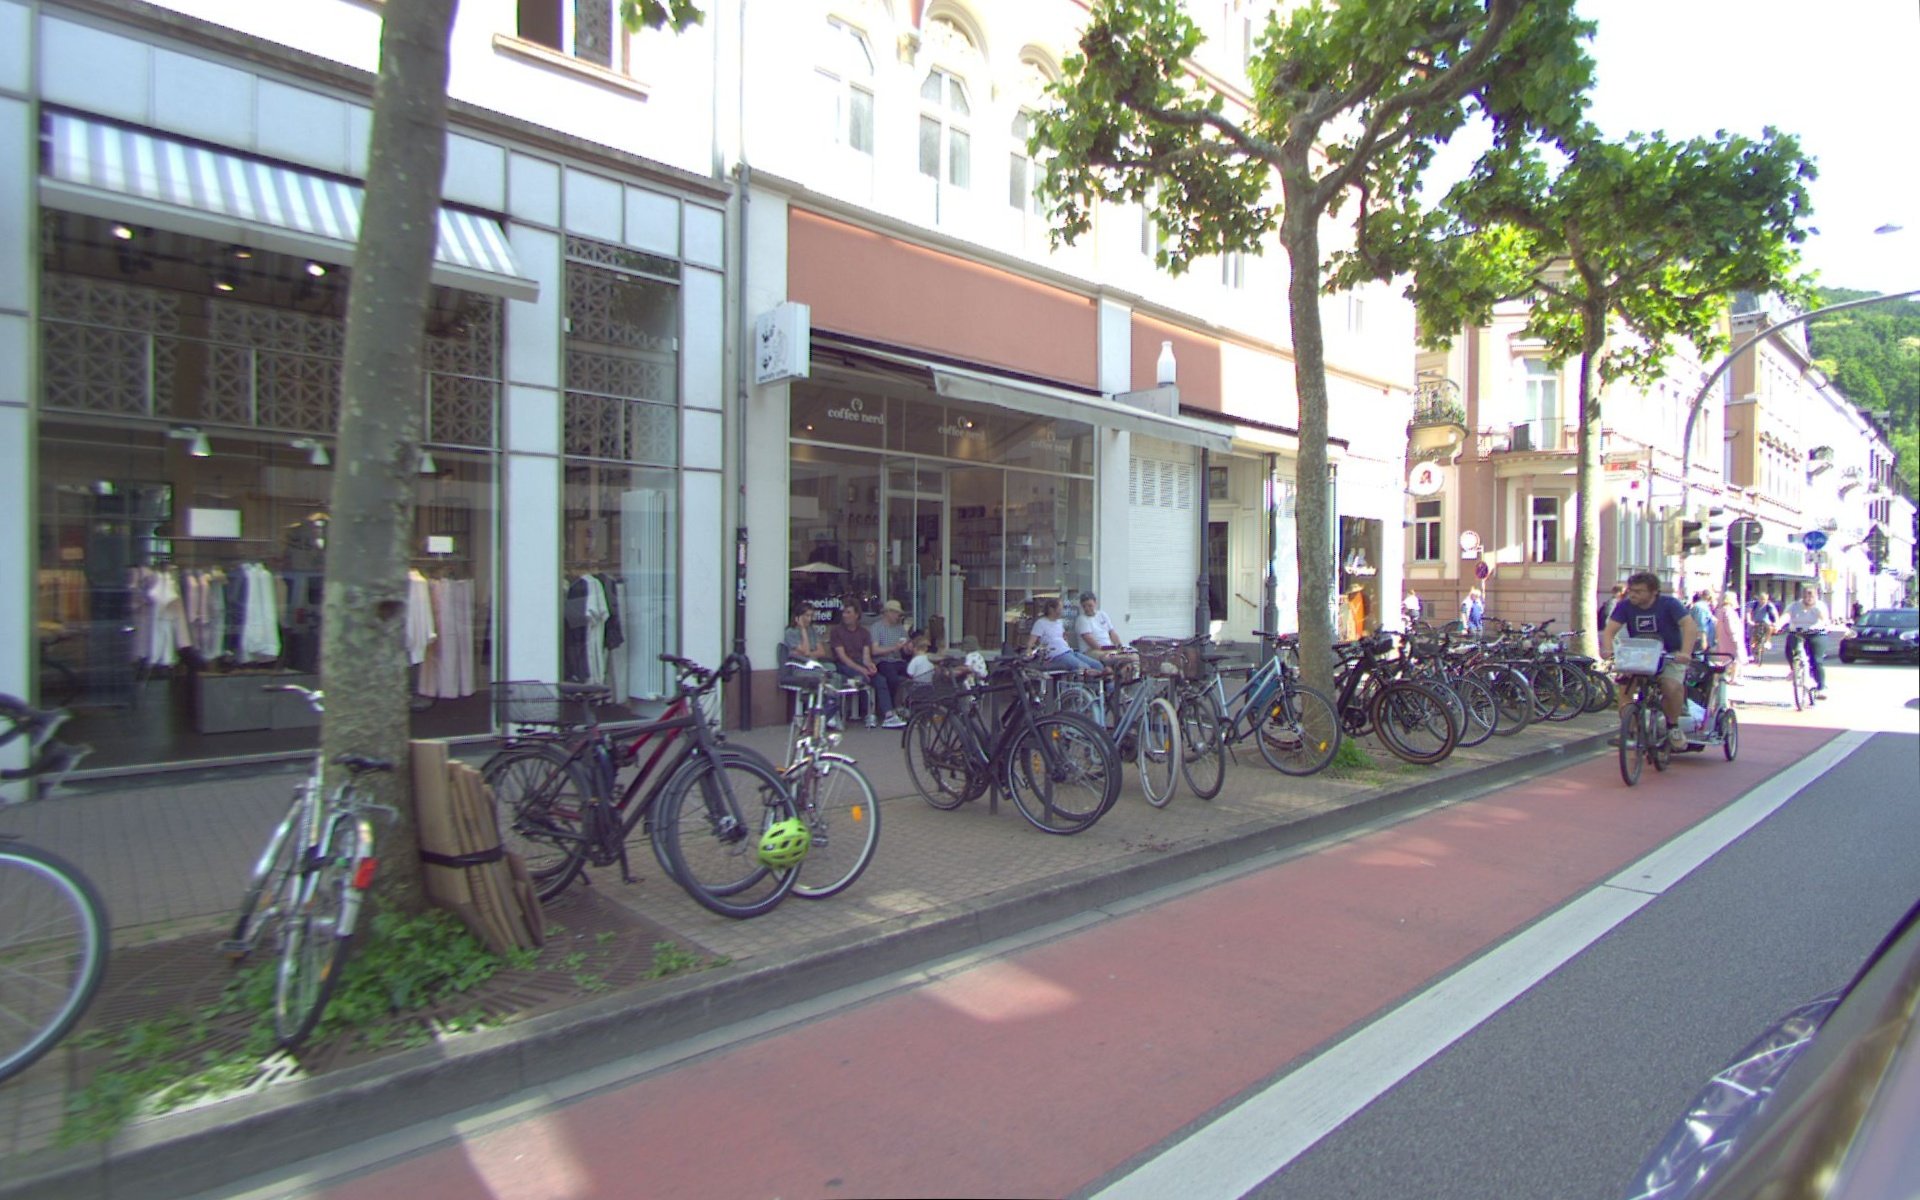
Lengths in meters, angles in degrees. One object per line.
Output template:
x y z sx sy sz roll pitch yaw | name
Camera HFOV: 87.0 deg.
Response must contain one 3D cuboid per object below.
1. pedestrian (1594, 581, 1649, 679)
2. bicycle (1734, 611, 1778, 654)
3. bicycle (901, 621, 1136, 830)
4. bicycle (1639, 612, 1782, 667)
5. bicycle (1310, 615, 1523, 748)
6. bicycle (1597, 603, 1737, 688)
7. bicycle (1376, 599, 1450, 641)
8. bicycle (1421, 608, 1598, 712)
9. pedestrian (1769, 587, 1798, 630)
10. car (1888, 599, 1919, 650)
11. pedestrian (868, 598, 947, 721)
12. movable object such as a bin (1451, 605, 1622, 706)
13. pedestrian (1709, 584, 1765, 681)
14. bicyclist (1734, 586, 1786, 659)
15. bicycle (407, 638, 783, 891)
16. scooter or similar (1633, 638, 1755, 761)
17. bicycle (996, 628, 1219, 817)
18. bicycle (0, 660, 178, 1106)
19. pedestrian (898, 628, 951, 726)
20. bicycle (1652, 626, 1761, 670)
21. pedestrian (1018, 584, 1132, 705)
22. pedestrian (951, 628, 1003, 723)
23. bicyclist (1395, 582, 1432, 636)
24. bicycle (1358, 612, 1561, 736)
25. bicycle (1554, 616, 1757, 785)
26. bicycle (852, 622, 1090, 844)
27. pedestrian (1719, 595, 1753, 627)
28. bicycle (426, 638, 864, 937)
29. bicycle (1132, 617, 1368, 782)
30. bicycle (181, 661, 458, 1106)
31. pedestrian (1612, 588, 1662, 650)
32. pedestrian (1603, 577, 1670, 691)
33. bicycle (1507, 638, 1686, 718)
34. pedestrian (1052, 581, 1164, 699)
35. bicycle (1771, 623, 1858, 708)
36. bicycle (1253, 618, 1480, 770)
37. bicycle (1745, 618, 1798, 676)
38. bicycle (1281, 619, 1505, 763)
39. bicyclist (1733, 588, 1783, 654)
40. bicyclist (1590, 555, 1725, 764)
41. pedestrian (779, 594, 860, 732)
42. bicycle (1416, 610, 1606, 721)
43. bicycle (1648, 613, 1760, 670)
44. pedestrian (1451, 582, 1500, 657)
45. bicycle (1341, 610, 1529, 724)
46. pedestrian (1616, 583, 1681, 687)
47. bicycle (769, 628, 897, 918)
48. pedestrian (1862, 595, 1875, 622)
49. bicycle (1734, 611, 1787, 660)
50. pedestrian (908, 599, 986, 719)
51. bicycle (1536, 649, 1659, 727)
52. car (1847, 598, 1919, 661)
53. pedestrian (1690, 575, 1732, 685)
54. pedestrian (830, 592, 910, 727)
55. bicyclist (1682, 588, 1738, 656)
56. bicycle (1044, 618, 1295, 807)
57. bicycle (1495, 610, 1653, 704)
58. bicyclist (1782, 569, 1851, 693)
12.855 0.568 19.663 0.602 1.866 0.641 0 -1 -30 | pedestrian
21.879 0.874 27.795 0.746 1.132 1.887 -1 0 45 | bicycle
0.325 0.748 6.731 0.440 1.141 1.844 -1 1 -39 | bicycle
17.091 0.882 23.109 2.566 1.141 0.618 1 -2 45 | bicycle
4.493 0.749 10.086 0.655 1.141 1.844 -1 1 -40 | bicycle
10.650 0.691 15.341 0.702 1.204 1.857 1 -3 -4 | bicycle
13.810 0.616 30.786 3.183 1.141 0.749 3 0 -41 | bicycle
6.793 0.698 12.603 0.654 1.141 1.846 -1 1 -34 | bicycle
35.804 0.354 43.991 0.754 1.813 0.840 0 1 -42 | pedestrian
28.991 0.673 29.927 4.804 1.443 1.953 0 -1 -44 | car
-0.576 0.624 11.059 0.523 1.269 0.682 1 1 -44 | pedestrian
7.412 0.689 13.112 0.639 1.204 1.859 0 -1 -26 | movable object such as a bin
14.338 0.591 18.680 0.777 1.731 0.639 -2 -1 -45 | pedestrian
19.639 0.523 24.846 0.830 1.738 0.840 0 1 -42 | bicyclist
-1.841 0.783 5.121 1.817 1.141 0.447 0 1 12 | bicycle
7.145 0.927 9.838 0.783 1.074 1.107 -2 -1 45 | scooter or similar
0.971 0.783 7.187 0.519 1.141 1.847 -1 -1 -29 | bicycle
-3.286 0.792 3.221 1.834 1.141 0.756 -2 0 36 | bicycle
-0.367 0.790 10.540 0.429 0.980 0.341 0 0 -40 | pedestrian
16.069 1.015 21.826 0.492 0.855 1.824 0 0 -41 | bicycle
1.456 0.526 12.884 0.777 1.440 1.234 -1 2 -44 | pedestrian
0.183 0.802 10.906 0.429 0.980 0.365 0 0 -40 | pedestrian
13.770 0.257 30.718 0.830 1.593 0.747 0 1 -42 | bicyclist
5.266 0.732 10.766 0.632 1.141 1.844 -1 1 -39 | bicycle
6.018 0.791 8.705 2.239 1.285 0.734 1 -2 -36 | bicycle
0.004 0.751 6.412 0.440 1.141 1.844 -1 1 -39 | bicycle
33.247 0.460 43.344 0.614 1.332 1.030 0 1 -43 | pedestrian
-1.386 0.766 4.523 1.818 1.141 0.592 0 1 13 | bicycle
2.357 0.753 8.436 0.667 1.141 1.844 -1 2 -40 | bicycle
-2.353 0.816 3.605 0.555 1.107 1.842 0 -1 -41 | bicycle
19.021 0.523 28.454 0.891 1.631 0.971 1 4 20 | pedestrian
11.208 0.549 16.760 0.630 1.818 0.788 1 -2 -44 | pedestrian
8.556 1.076 13.655 1.854 0.395 1.018 -12 27 52 | bicycle
1.977 0.498 13.575 0.823 1.502 1.252 0 0 -44 | pedestrian
12.381 0.916 14.640 1.999 1.141 0.736 2 -2 -43 | bicycle
3.527 0.763 8.939 0.520 1.141 1.844 -1 2 -39 | bicycle
18.625 1.053 23.223 1.828 1.140 0.607 -4 4 -41 | bicycle
3.987 0.782 9.453 0.655 1.141 1.844 -1 1 -40 | bicycle
21.809 0.555 27.652 0.830 1.738 0.909 0 1 -42 | bicyclist
6.015 0.471 8.736 0.760 1.694 0.733 0 1 -36 | bicyclist
-1.437 0.611 10.341 0.523 1.349 0.681 1 0 -44 | pedestrian
6.389 0.710 11.827 0.655 1.141 1.844 -1 1 -40 | bicycle
16.073 0.881 21.916 0.654 1.141 1.845 -1 1 -37 | bicycle
11.918 0.445 23.400 0.774 1.679 0.642 3 -2 -30 | pedestrian
5.374 0.713 11.547 0.655 1.141 1.844 -1 1 -40 | bicycle
11.732 0.575 17.248 0.630 1.712 0.788 1 0 -44 | pedestrian
-0.718 0.771 5.295 0.439 1.141 1.850 -1 1 -14 | bicycle
56.712 0.513 63.163 0.853 1.689 0.482 0 0 -43 | pedestrian
19.839 0.852 25.060 1.957 1.132 0.663 0 1 -41 | bicycle
-0.151 0.642 11.467 0.599 1.268 0.640 -1 3 -44 | pedestrian
8.983 1.211 14.363 1.128 0.438 1.846 11 13 21 | bicycle
24.609 0.717 26.149 3.659 1.497 1.634 -1 0 -33 | car
12.646 0.500 17.048 0.598 1.818 0.452 1 -2 -44 | pedestrian
-0.951 0.601 10.677 0.523 1.355 0.681 1 0 -44 | pedestrian
16.129 0.455 21.772 0.492 1.429 0.860 0 0 -41 | bicyclist
1.498 0.754 7.650 0.746 1.141 1.995 -1 1 -29 | bicycle
7.932 0.713 13.176 0.338 1.141 1.848 1 -2 -26 | bicycle
12.410 0.426 14.660 0.830 1.739 0.683 0 0 -44 | bicyclist
